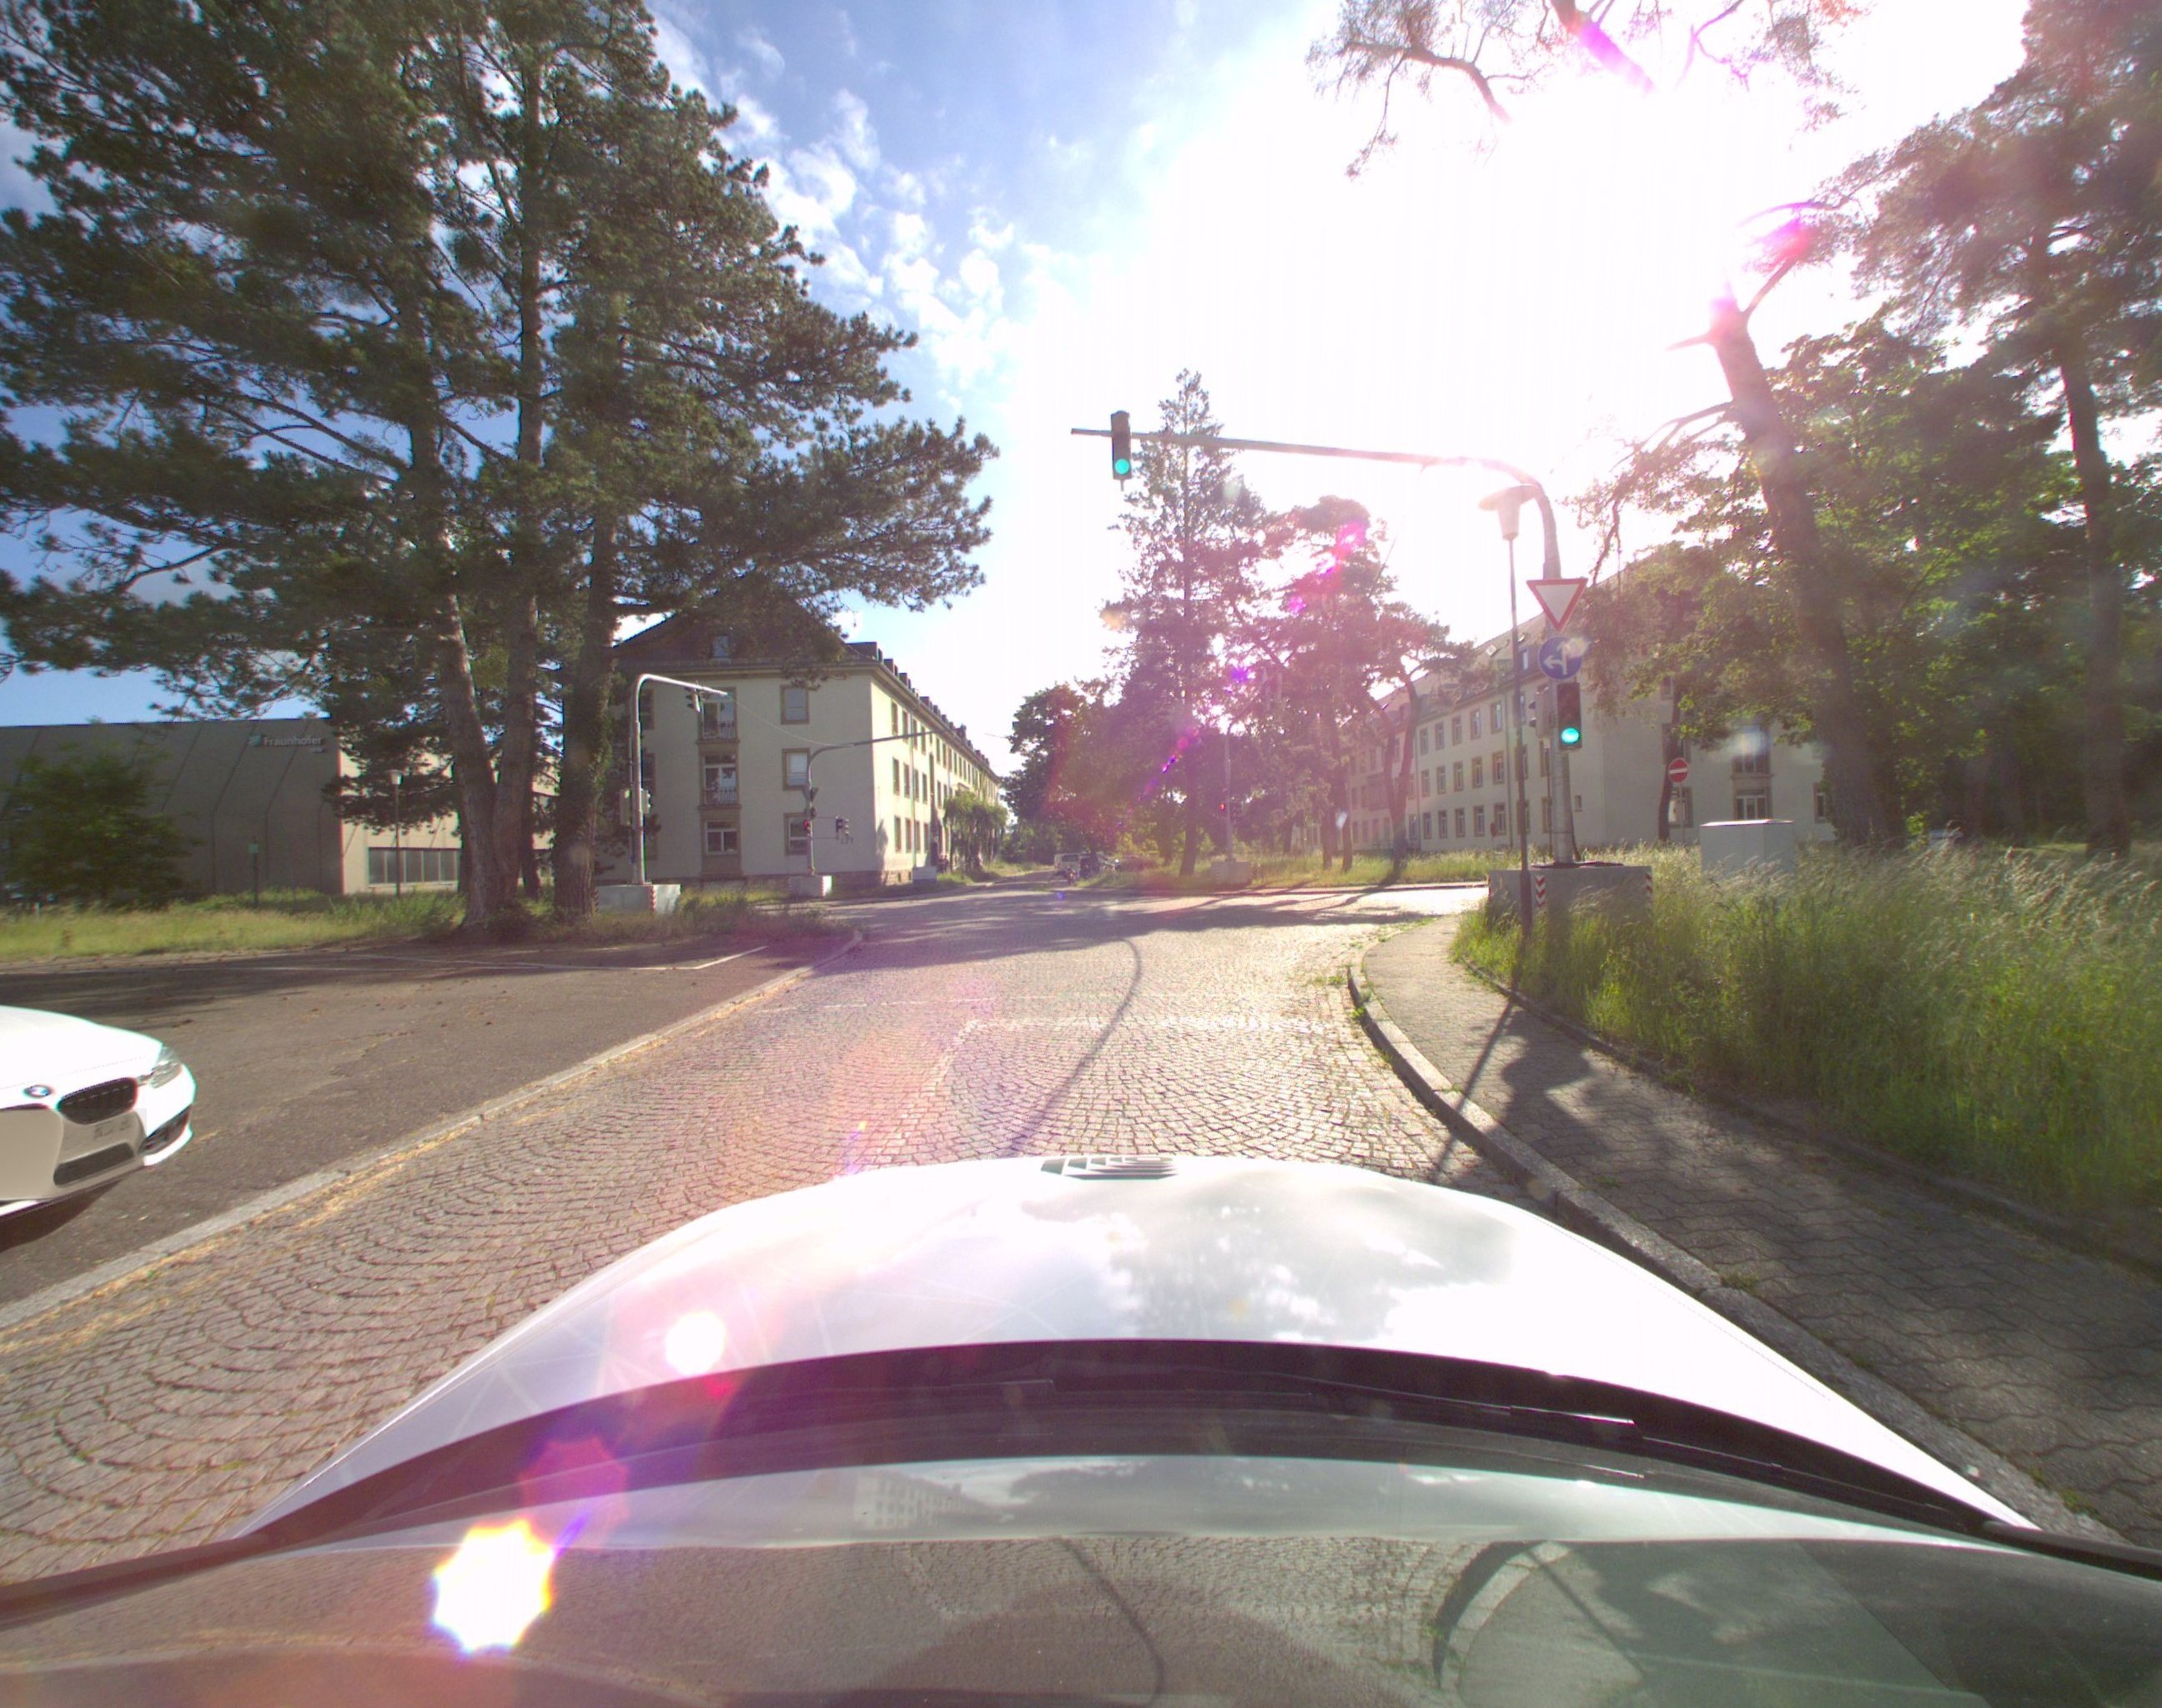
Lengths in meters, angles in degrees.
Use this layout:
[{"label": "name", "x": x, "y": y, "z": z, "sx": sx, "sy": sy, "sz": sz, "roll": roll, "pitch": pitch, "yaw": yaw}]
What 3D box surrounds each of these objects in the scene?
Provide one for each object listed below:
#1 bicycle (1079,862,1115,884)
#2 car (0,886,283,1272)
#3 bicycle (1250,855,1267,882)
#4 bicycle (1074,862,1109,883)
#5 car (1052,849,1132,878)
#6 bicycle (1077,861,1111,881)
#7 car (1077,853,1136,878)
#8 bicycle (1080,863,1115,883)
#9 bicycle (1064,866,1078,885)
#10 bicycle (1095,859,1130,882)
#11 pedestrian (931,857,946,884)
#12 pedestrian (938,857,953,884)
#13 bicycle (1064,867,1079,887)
[{"label": "bicycle", "x": 0.883, "y": 1.076, "z": 46.027, "sx": 1.936, "sy": 1.129, "sz": 0.749, "roll": -2, "pitch": -1, "yaw": -4}, {"label": "car", "x": -6.541, "y": 0.896, "z": 3.383, "sx": 4.530, "sy": 1.467, "sz": 1.751, "roll": 1, "pitch": 0, "yaw": -3}, {"label": "bicycle", "x": 7.239, "y": 0.598, "z": 33.168, "sx": 0.464, "sy": 1.080, "sz": 1.175, "roll": -2, "pitch": -1, "yaw": 3}, {"label": "bicycle", "x": 0.594, "y": 1.046, "z": 47.242, "sx": 1.951, "sy": 1.129, "sz": 0.642, "roll": -2, "pitch": -1, "yaw": -27}, {"label": "car", "x": 0.810, "y": 0.752, "z": 63.175, "sx": 5.925, "sy": 2.013, "sz": 2.469, "roll": -2, "pitch": 0, "yaw": -7}, {"label": "bicycle", "x": 0.784, "y": 1.002, "z": 48.334, "sx": 1.938, "sy": 1.129, "sz": 0.646, "roll": -2, "pitch": -1, "yaw": -6}, {"label": "car", "x": 1.834, "y": 0.815, "z": 59.011, "sx": 3.985, "sy": 1.684, "sz": 1.842, "roll": -2, "pitch": 0, "yaw": -8}, {"label": "bicycle", "x": 0.910, "y": 1.028, "z": 45.232, "sx": 1.850, "sy": 1.031, "sz": 0.749, "roll": -2, "pitch": -1, "yaw": -4}, {"label": "bicycle", "x": -0.537, "y": 1.155, "z": 43.675, "sx": 0.693, "sy": 0.971, "sz": 1.859, "roll": -1, "pitch": 0, "yaw": -2}, {"label": "bicycle", "x": 1.797, "y": 0.939, "z": 46.740, "sx": 1.936, "sy": 1.235, "sz": 0.485, "roll": -2, "pitch": -1, "yaw": -4}, {"label": "pedestrian", "x": -9.725, "y": 1.144, "z": 55.575, "sx": 0.806, "sy": 1.817, "sz": 0.556, "roll": -2, "pitch": -1, "yaw": 10}, {"label": "pedestrian", "x": -9.445, "y": 1.151, "z": 56.856, "sx": 0.762, "sy": 1.817, "sz": 0.684, "roll": -2, "pitch": 0, "yaw": 10}, {"label": "bicycle", "x": -0.479, "y": 1.155, "z": 41.738, "sx": 0.693, "sy": 0.971, "sz": 1.859, "roll": -1, "pitch": 0, "yaw": -2}]
